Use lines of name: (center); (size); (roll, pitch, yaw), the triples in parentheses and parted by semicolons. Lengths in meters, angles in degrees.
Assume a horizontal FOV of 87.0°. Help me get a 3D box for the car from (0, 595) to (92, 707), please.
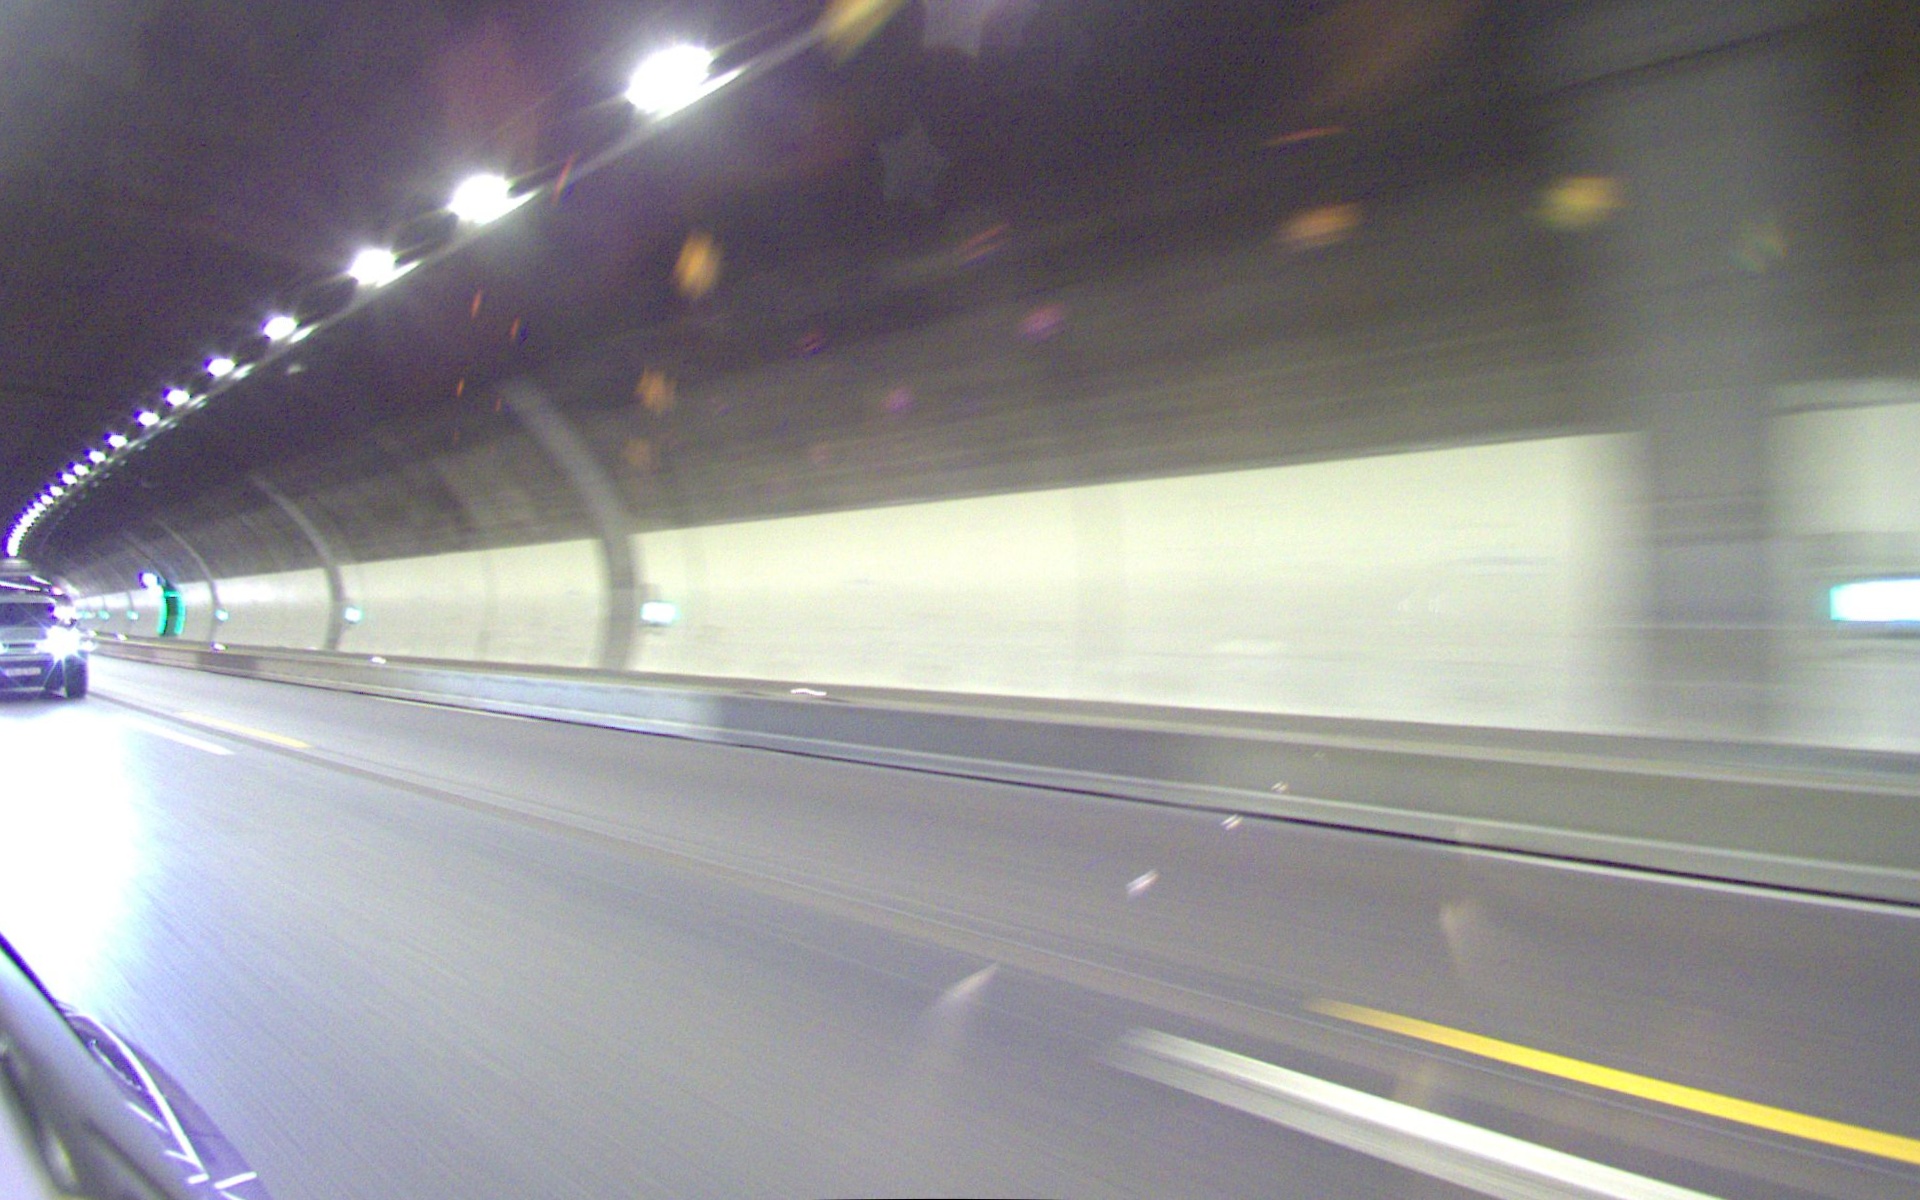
car: (-18.332, 0.917, 19.270); (5.451, 1.909, 1.972); (-1, -2, 41)
